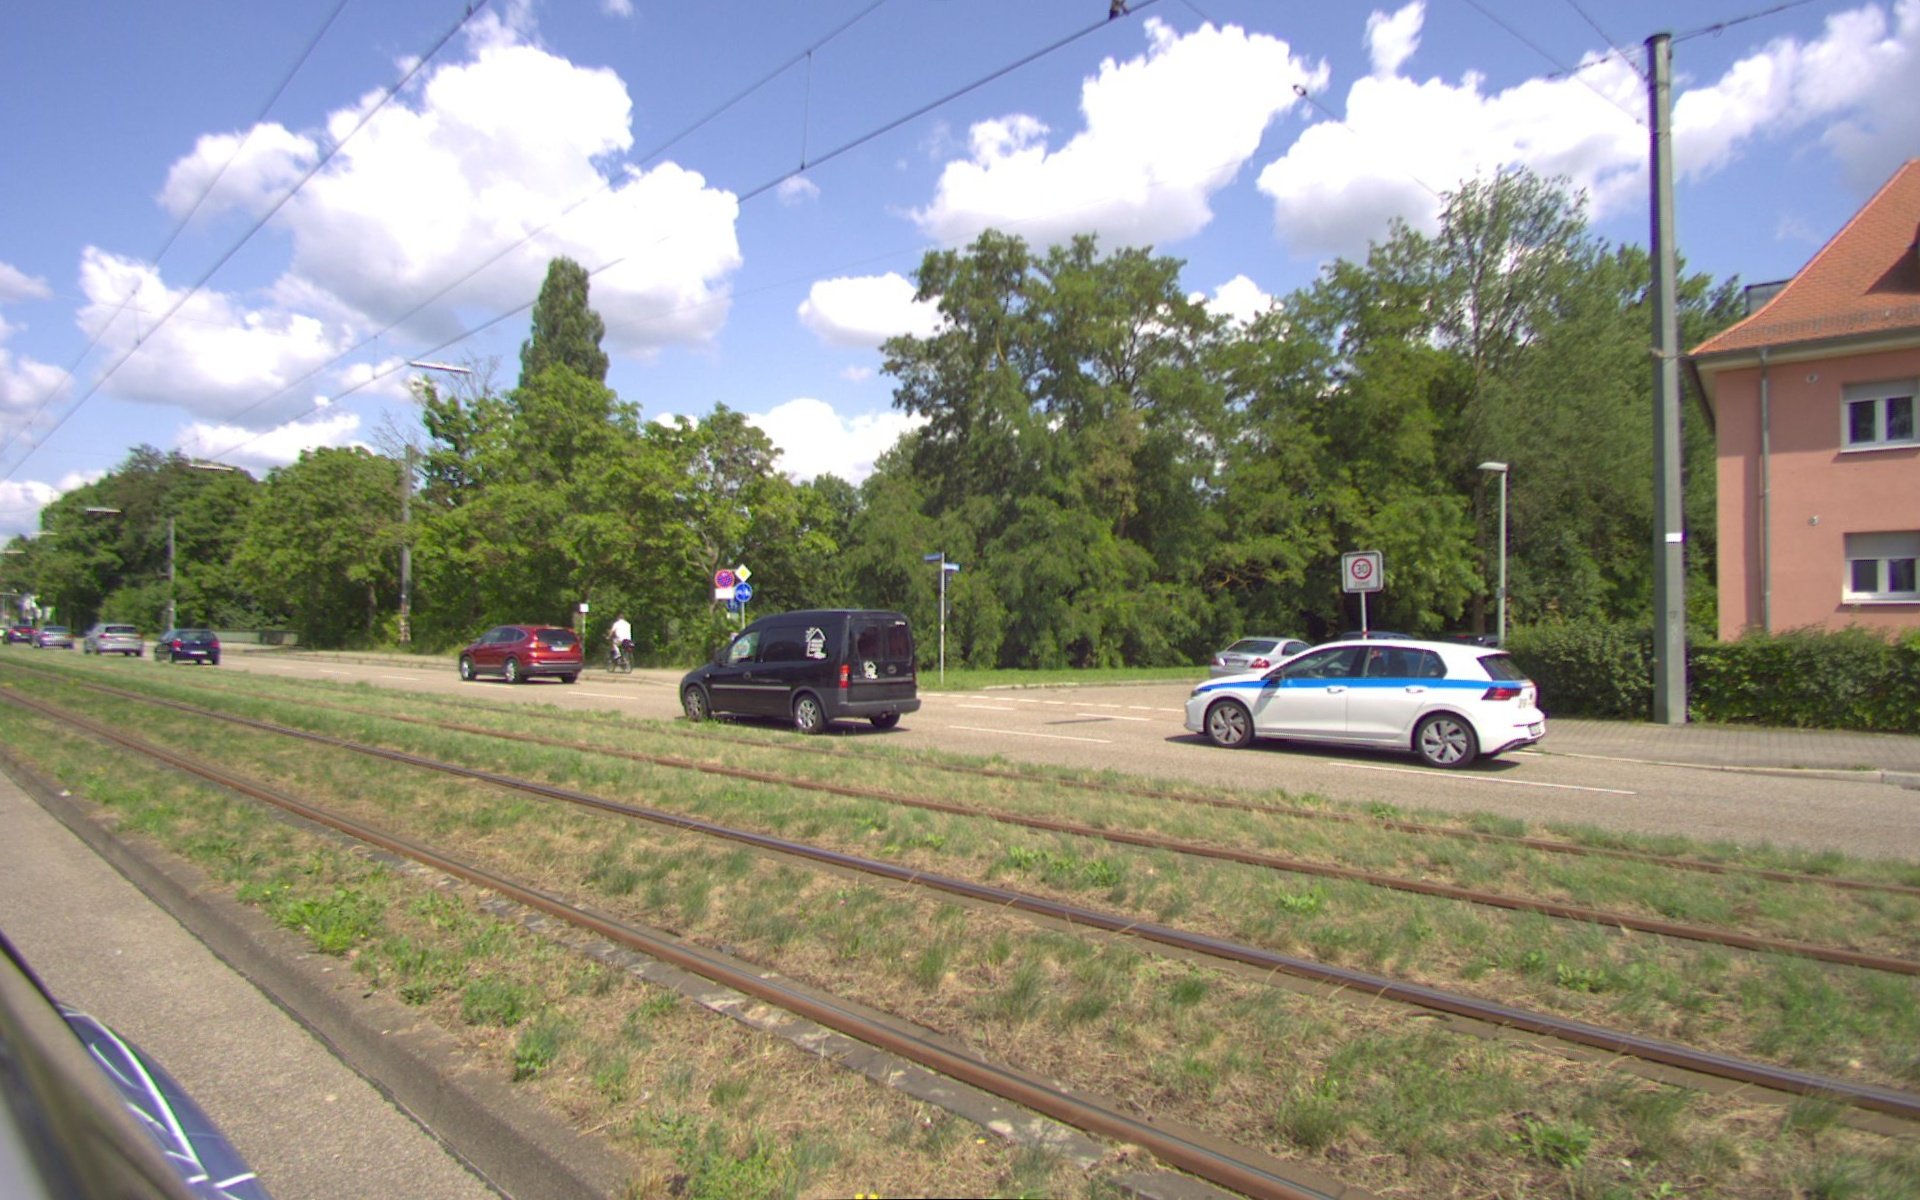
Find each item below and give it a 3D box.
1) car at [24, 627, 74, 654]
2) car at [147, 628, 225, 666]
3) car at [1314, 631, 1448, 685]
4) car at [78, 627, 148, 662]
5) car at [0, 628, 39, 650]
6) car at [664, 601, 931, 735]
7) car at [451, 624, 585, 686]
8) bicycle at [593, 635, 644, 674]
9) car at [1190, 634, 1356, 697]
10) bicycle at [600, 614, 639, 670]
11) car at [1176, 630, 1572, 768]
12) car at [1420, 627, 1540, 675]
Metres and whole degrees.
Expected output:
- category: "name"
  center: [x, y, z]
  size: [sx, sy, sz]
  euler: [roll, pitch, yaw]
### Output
- category: "car"
  center: [-58.022, 2.562, 64.421]
  size: [4.275, 1.664, 1.896]
  euler: [-2, -2, 42]
- category: "car"
  center: [-30.624, 1.821, 40.001]
  size: [4.275, 1.405, 1.709]
  euler: [-2, -2, 42]
- category: "car"
  center: [11.920, 1.589, 28.627]
  size: [3.582, 1.416, 1.854]
  euler: [1, -2, -35]
- category: "car"
  center: [-42.464, 2.197, 50.716]
  size: [4.275, 1.664, 2.093]
  euler: [-2, -2, 42]
- category: "car"
  center: [-72.220, 2.972, 77.496]
  size: [4.275, 1.664, 2.093]
  euler: [-2, -2, 42]
- category: "car"
  center: [-2.544, 0.948, 15.250]
  size: [4.225, 1.760, 1.668]
  euler: [-2, -2, 41]
- category: "car"
  center: [-12.443, 1.494, 28.393]
  size: [4.273, 1.591, 1.710]
  euler: [-2, -2, 40]
- category: "bicycle"
  center: [-10.738, 1.689, 31.800]
  size: [1.956, 1.197, 0.634]
  euler: [-2, -2, 42]
- category: "car"
  center: [7.899, 1.564, 25.333]
  size: [4.403, 1.416, 2.002]
  euler: [1, -2, -42]
- category: "bicycle"
  center: [-10.693, 1.308, 31.762]
  size: [0.952, 1.697, 0.790]
  euler: [-2, -2, 41]
- category: "car"
  center: [5.025, 1.105, 12.664]
  size: [4.274, 1.442, 1.668]
  euler: [-2, -2, 41]
- category: "car"
  center: [16.258, 1.546, 31.586]
  size: [3.582, 1.416, 1.854]
  euler: [1, -2, -35]
